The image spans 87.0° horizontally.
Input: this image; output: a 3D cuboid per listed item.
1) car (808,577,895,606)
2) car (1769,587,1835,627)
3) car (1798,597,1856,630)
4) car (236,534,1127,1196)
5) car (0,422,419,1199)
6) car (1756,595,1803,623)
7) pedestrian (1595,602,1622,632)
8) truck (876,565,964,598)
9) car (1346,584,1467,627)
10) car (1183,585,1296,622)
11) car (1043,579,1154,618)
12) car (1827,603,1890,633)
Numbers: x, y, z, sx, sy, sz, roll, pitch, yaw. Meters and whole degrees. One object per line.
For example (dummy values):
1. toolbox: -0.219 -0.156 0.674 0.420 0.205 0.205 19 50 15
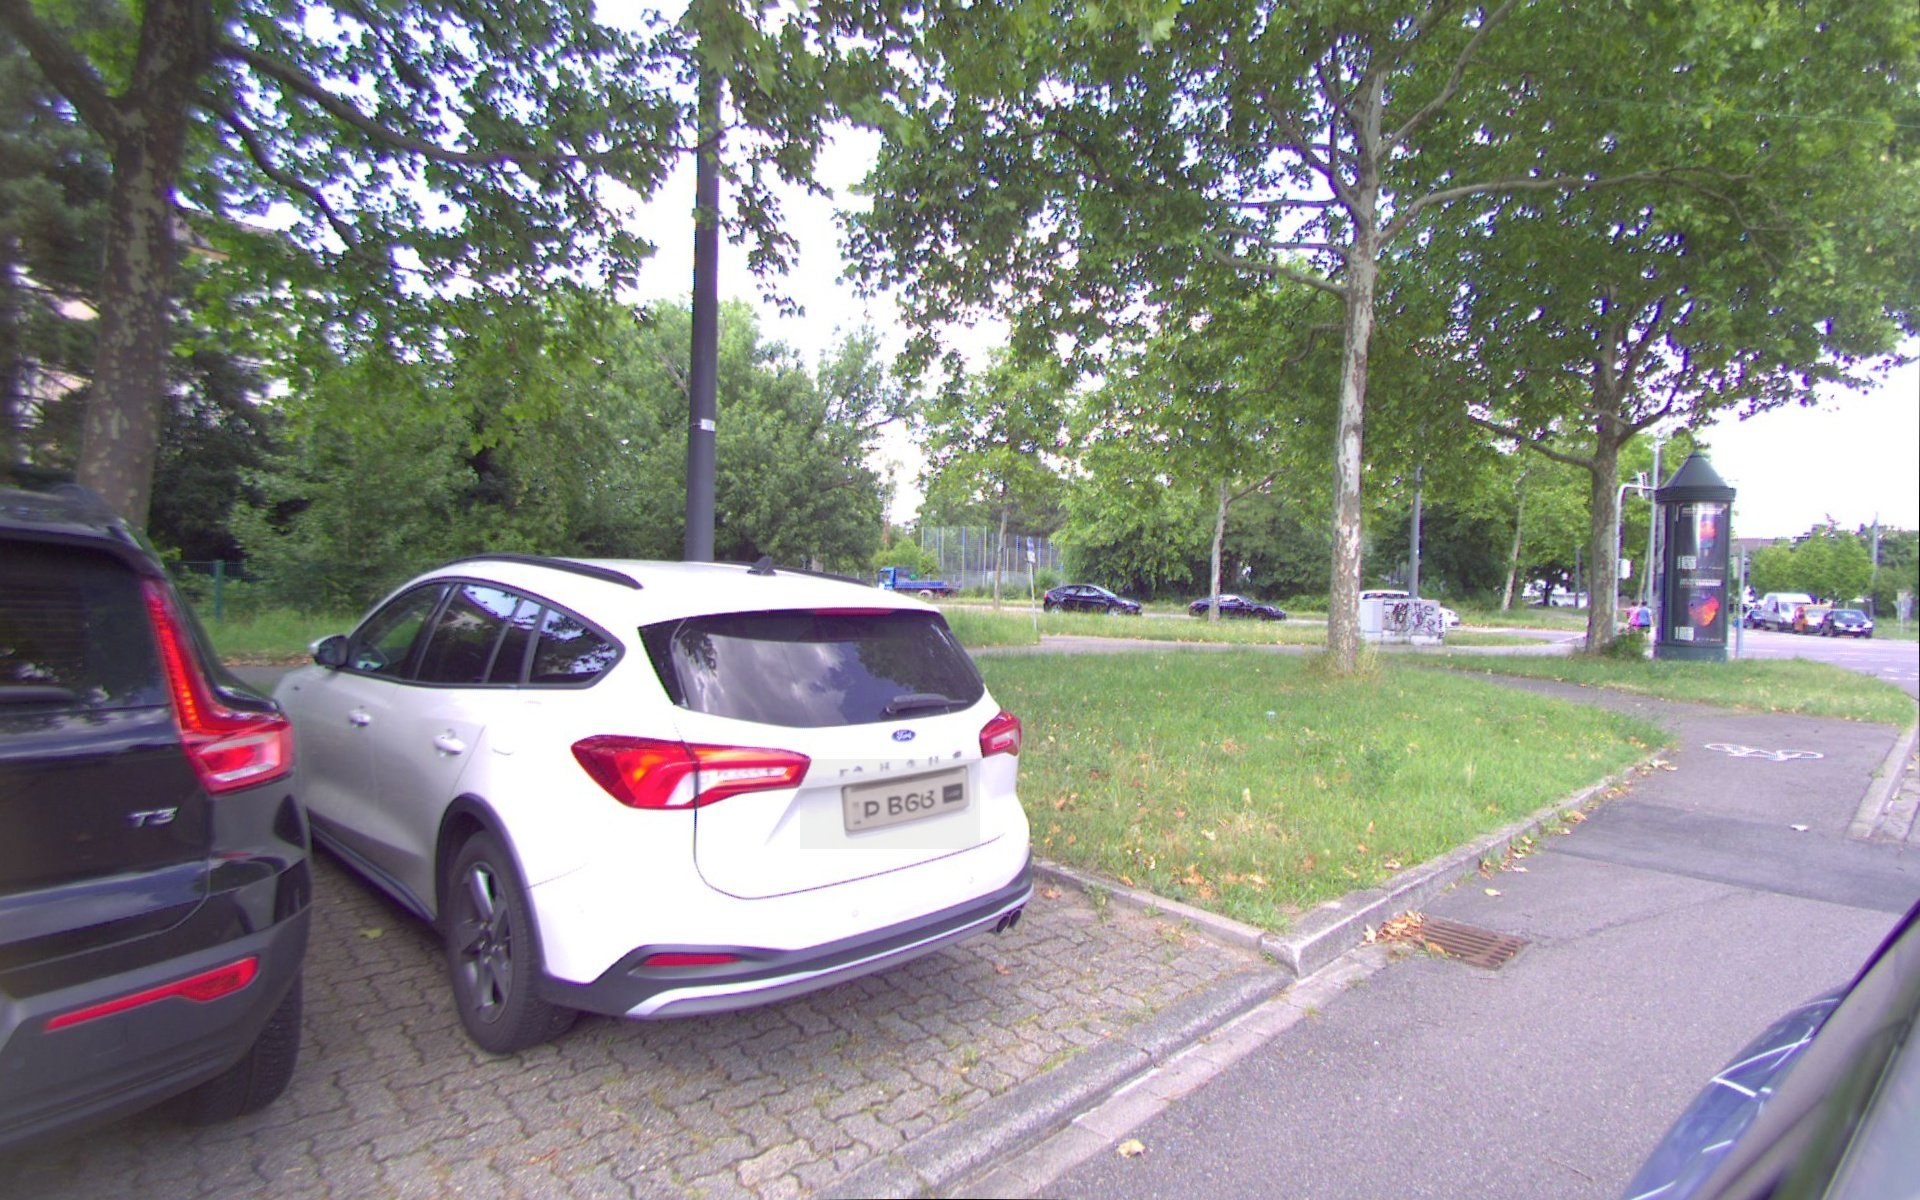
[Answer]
1. car: -6.228 -0.507 58.041 4.644 1.532 1.981 2 2 28
2. car: 56.277 0.451 67.765 2.219 2.538 5.670 1 1 28
3. car: 53.145 0.793 62.090 1.780 1.959 4.325 1 1 29
4. car: -1.708 0.504 4.598 4.661 1.492 1.818 4 2 45
5. car: -3.428 0.414 3.110 4.661 1.646 1.818 4 2 45
6. car: 58.915 0.618 72.793 1.780 1.959 4.326 1 1 28
7. pedestrian: 23.750 0.605 37.058 0.719 1.047 0.889 2 1 39
8. truck: -2.811 -1.282 69.715 5.813 2.038 2.266 2 1 33
9. car: 19.266 0.213 43.659 4.644 1.630 1.981 2 2 28
10. car: 12.854 0.127 46.653 4.706 1.487 1.981 2 2 28
11. car: 6.313 -0.109 46.382 4.645 1.630 1.980 2 2 29
12. car: 50.314 0.995 56.753 1.781 1.558 3.959 1 1 29
